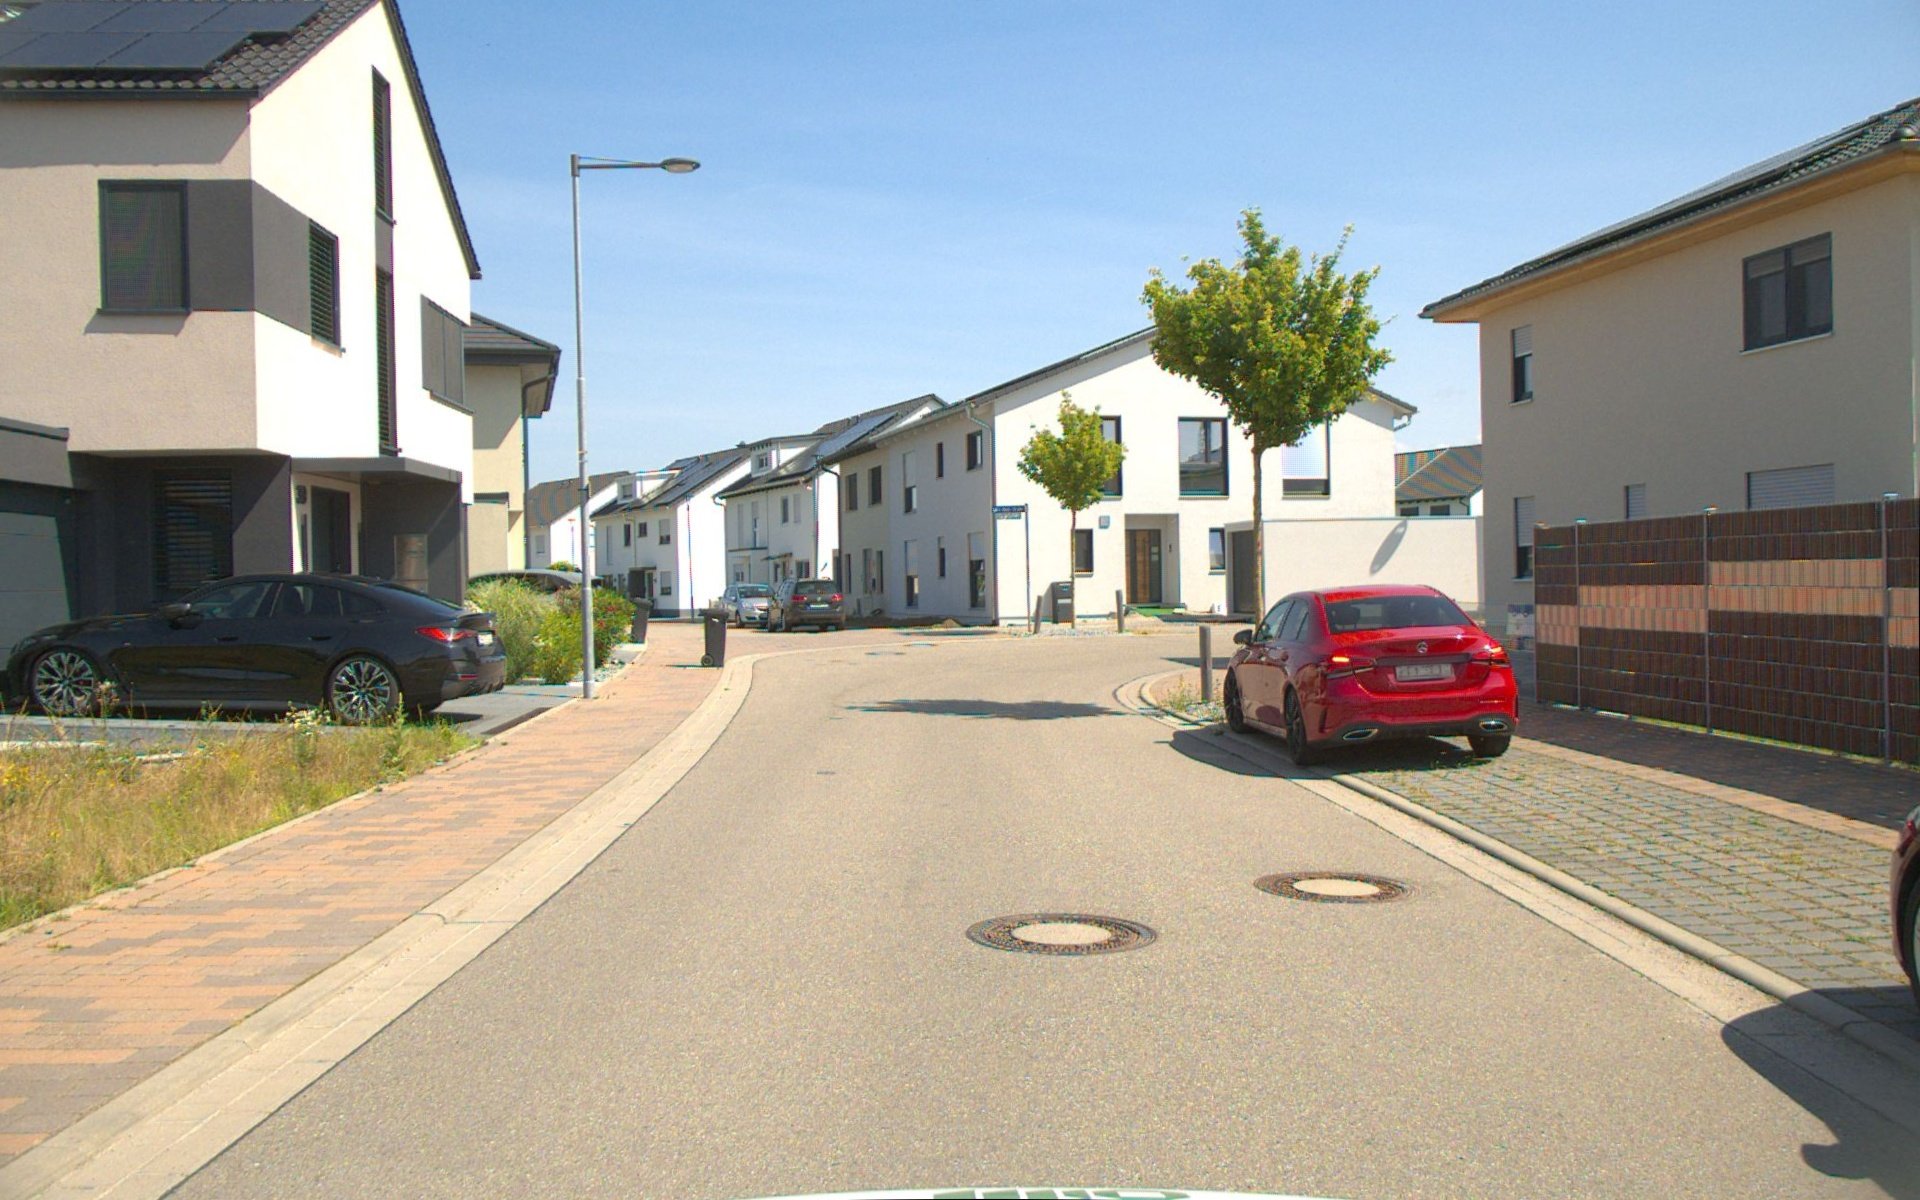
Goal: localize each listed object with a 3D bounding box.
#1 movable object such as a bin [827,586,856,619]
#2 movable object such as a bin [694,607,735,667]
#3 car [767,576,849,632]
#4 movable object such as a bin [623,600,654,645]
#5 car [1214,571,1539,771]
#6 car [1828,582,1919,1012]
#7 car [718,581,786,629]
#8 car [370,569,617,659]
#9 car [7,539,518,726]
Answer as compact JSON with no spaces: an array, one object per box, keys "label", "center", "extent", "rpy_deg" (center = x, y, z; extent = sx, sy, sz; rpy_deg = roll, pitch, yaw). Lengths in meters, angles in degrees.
[{"label":"movable object such as a bin","center":[-4.067,0.097,56.662],"extent":[0.772,1.068,0.800],"rpy_deg":[-4,1,-19]},{"label":"movable object such as a bin","center":[-3.984,0.592,26.829],"extent":[0.523,0.952,0.526],"rpy_deg":[1,0,6]},{"label":"car","center":[-4.329,0.096,46.671],"extent":[1.698,1.447,3.986],"rpy_deg":[-2,1,-14]},{"label":"movable object such as a bin","center":[-6.848,0.476,35.249],"extent":[0.604,0.943,0.422],"rpy_deg":[2,-1,-13]},{"label":"car","center":[3.552,0.523,14.987],"extent":[1.727,1.463,4.519],"rpy_deg":[-2,1,0]},{"label":"car","center":[3.941,0.640,3.602],"extent":[1.718,1.387,4.576],"rpy_deg":[-2,1,1]},{"label":"car","center":[-7.083,0.157,56.061],"extent":[1.650,1.489,3.927],"rpy_deg":[-2,1,-16]},{"label":"car","center":[-8.278,0.240,29.613],"extent":[3.906,1.512,1.754],"rpy_deg":[-1,1,-1]},{"label":"car","center":[-6.790,0.304,16.460],"extent":[4.288,1.660,1.770],"rpy_deg":[1,0,-3]}]
